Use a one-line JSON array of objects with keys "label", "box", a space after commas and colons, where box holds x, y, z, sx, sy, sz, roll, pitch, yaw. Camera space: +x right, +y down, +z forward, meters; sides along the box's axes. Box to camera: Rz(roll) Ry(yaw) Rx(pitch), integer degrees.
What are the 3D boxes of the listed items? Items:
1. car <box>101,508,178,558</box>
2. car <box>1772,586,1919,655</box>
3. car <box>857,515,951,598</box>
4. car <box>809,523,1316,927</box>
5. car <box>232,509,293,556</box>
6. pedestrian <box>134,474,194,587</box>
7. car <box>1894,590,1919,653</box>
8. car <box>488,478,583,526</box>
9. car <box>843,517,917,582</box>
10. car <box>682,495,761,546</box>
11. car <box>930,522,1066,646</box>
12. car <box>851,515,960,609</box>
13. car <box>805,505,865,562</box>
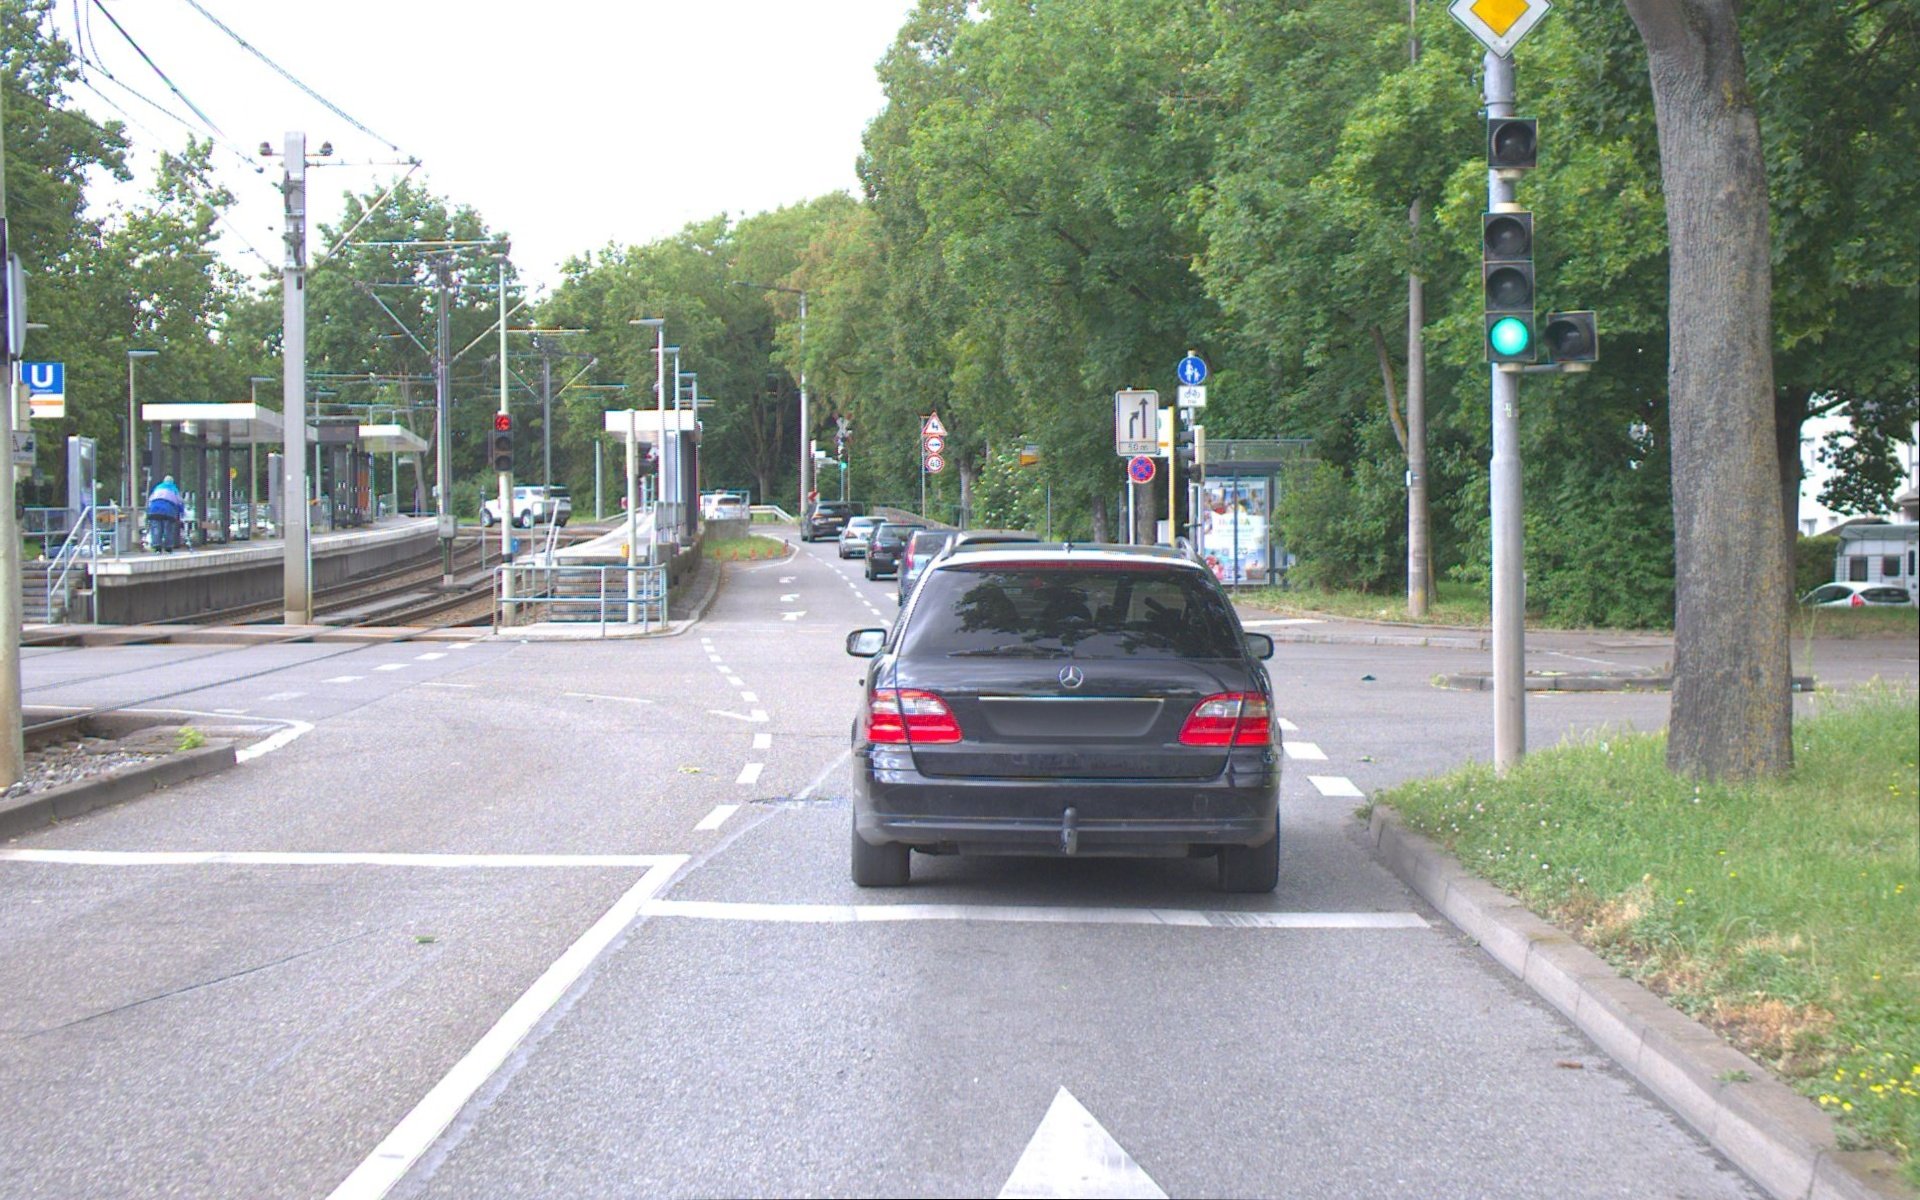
[{"label": "car", "box": [-25.791, -2.092, 108.123, 1.685, 1.441, 4.001, -2, 1, -4]}, {"label": "car", "box": [19.213, 0.433, 74.614, 1.478, 1.381, 3.841, 2, 0, -14]}, {"label": "car", "box": [-1.392, -1.052, 83.892, 1.993, 1.911, 4.001, 2, 0, -4]}, {"label": "car", "box": [0.313, 0.442, 15.259, 1.781, 1.520, 4.001, 1, 1, -5]}, {"label": "car", "box": [-27.001, -2.602, 133.212, 1.710, 1.745, 4.400, -1, 0, -3]}, {"label": "pedestrian", "box": [-15.443, -1.348, 66.728, 0.969, 2.178, 0.976, 0, 1, -2]}, {"label": "car", "box": [20.279, 0.478, 68.276, 1.621, 1.242, 3.859, 2, 0, -14]}, {"label": "car", "box": [-18.801, -4.346, 152.206, 3.997, 2.007, 1.995, 2, 0, 42]}, {"label": "car", "box": [-2.468, -1.517, 105.087, 1.993, 1.886, 4.001, 2, 0, -4]}, {"label": "car", "box": [-9.833, -3.256, 141.674, 1.993, 2.007, 4.001, 2, 0, -23]}, {"label": "car", "box": [0.583, -0.225, 49.055, 1.782, 1.642, 4.000, 2, 0, 2]}, {"label": "car", "box": [-0.984, -0.689, 63.988, 1.782, 1.642, 4.000, 2, 0, 2]}, {"label": "car", "box": [-4.551, -2.382, 124.653, 1.993, 1.960, 4.001, 2, 0, -4]}]
